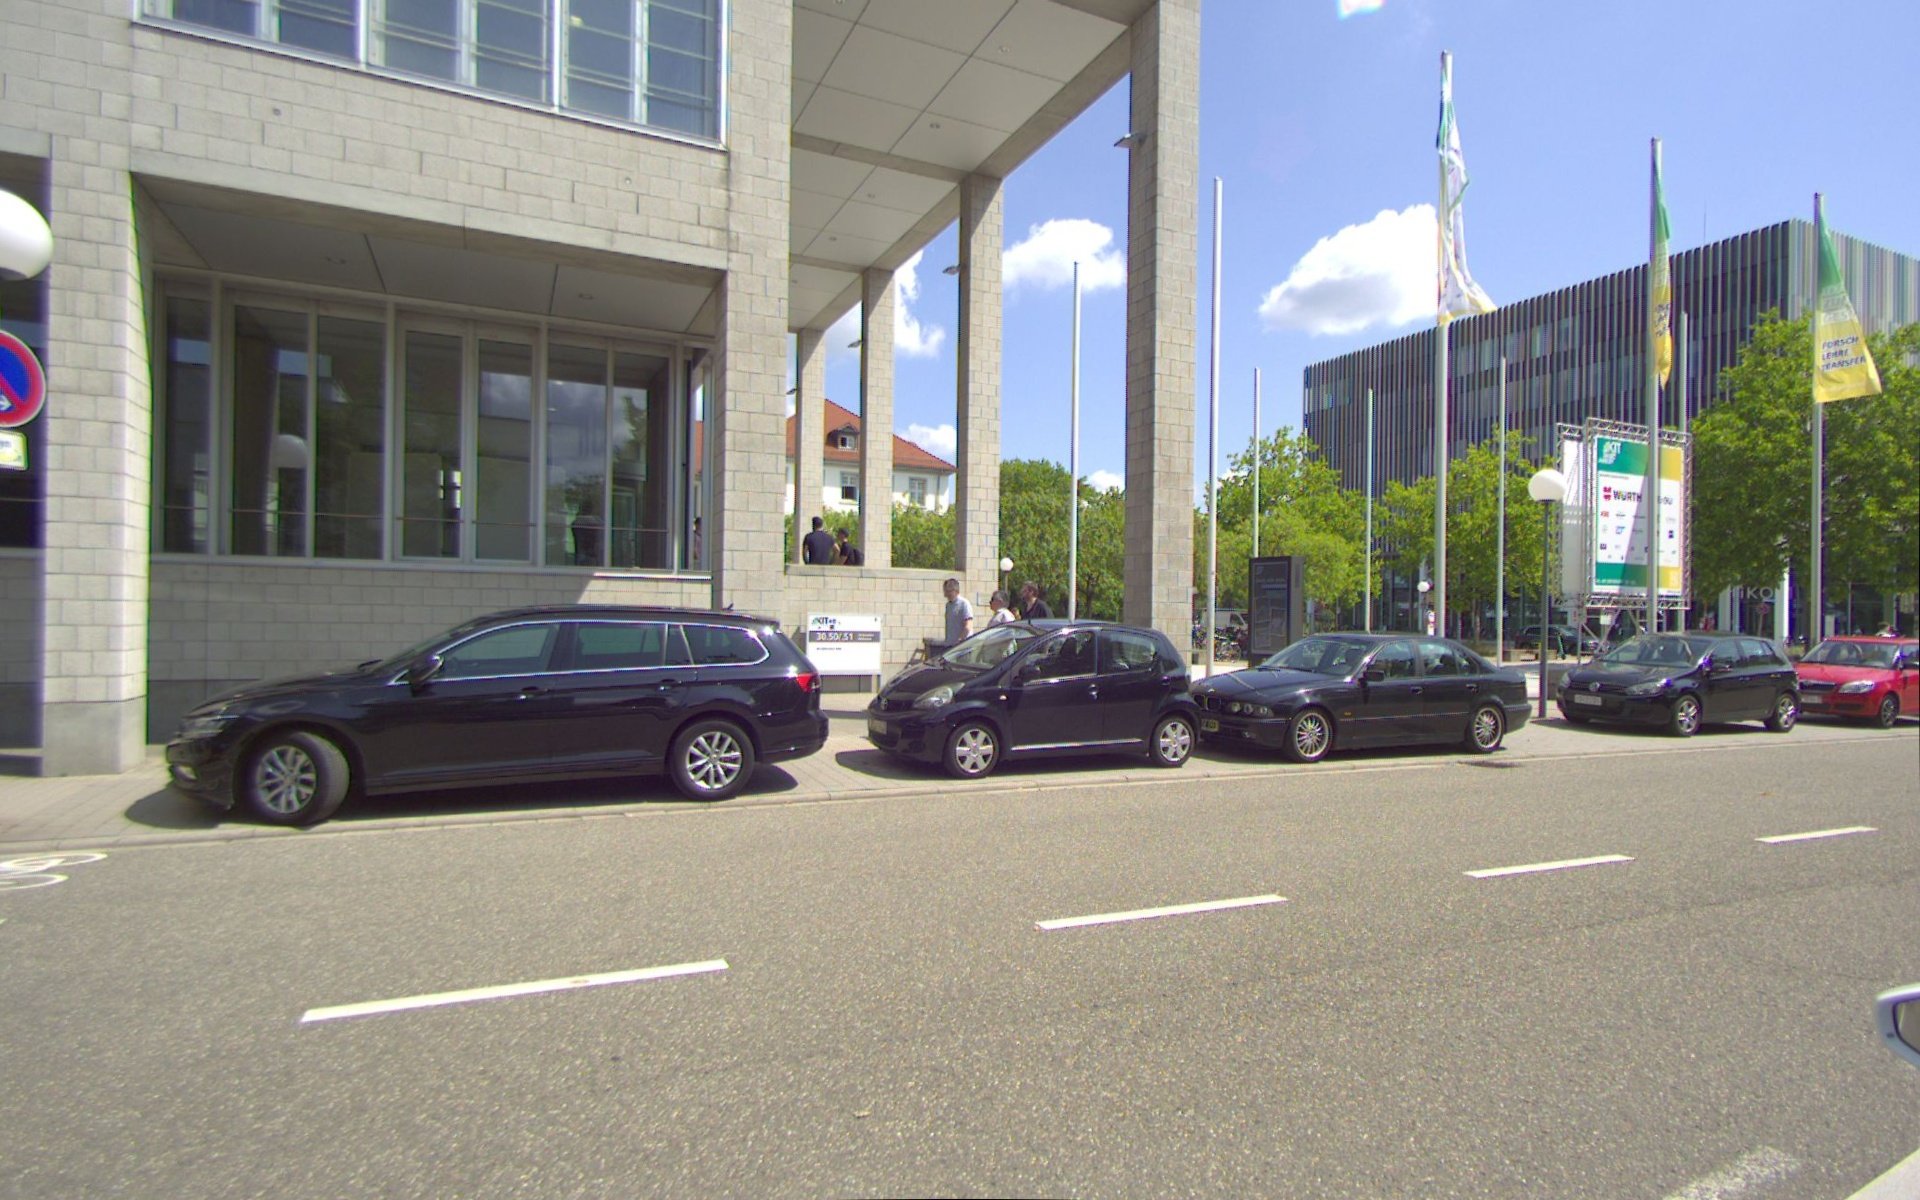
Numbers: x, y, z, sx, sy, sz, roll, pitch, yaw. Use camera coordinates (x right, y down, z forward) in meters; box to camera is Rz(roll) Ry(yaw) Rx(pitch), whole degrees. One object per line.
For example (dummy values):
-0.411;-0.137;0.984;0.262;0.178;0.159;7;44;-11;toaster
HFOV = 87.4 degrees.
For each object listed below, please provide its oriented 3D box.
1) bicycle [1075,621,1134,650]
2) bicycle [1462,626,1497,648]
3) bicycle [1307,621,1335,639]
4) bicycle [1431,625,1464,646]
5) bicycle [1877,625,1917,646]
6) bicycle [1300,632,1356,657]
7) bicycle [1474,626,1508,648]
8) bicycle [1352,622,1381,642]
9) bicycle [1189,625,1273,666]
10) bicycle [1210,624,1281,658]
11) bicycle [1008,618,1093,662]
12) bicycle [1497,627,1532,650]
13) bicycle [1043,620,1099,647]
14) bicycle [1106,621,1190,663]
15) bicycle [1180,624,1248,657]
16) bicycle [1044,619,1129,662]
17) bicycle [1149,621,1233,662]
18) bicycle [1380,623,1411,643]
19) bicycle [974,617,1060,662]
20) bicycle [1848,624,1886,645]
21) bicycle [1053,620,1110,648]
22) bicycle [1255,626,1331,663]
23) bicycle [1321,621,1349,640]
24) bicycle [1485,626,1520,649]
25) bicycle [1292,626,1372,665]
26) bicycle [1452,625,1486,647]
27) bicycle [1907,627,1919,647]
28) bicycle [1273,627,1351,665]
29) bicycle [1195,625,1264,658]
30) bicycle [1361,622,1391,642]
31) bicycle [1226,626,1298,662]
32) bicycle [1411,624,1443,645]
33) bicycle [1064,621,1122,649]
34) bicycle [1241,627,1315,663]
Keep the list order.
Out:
7.558;1.869;52.530;2.907;1.430;1.060;2;0;-21;bicycle
45.224;3.189;87.434;2.908;1.863;0.957;2;0;-22;bicycle
37.739;3.130;104.946;2.911;1.863;0.956;2;0;-25;bicycle
43.988;3.184;90.576;2.909;1.863;0.957;2;0;-23;bicycle
59.140;2.221;63.435;1.179;1.254;2.946;1;0;29;bicycle
17.658;2.140;48.160;2.919;1.163;0.992;2;0;-33;bicycle
45.655;3.190;86.343;2.908;1.863;0.957;2;0;-22;bicycle
40.251;3.165;99.461;2.911;1.863;0.956;2;0;-25;bicycle
10.325;1.705;38.376;2.909;1.430;1.059;1;0;43;bicycle
12.461;1.788;43.885;2.907;1.430;1.060;2;0;-21;bicycle
3.177;1.387;35.692;2.909;1.430;1.141;1;0;43;bicycle
46.481;3.194;84.258;2.909;1.863;0.957;2;0;-23;bicycle
6.207;1.865;56.088;2.907;1.430;1.060;2;0;-21;bicycle
6.999;1.528;37.531;2.909;1.430;1.141;1;0;43;bicycle
11.655;1.848;46.095;2.907;1.430;1.060;2;0;-21;bicycle
4.521;1.425;36.194;2.909;1.430;1.141;1;0;43;bicycle
8.737;1.548;38.095;2.909;1.430;1.141;1;0;43;bicycle
41.686;3.173;96.183;2.911;1.863;0.983;2;0;-25;bicycle
1.959;1.339;34.925;2.909;1.430;1.141;1;0;43;bicycle
57.740;2.164;63.997;1.179;1.254;2.946;1;0;30;bicycle
6.637;1.865;54.827;2.907;1.430;1.060;2;0;-21;bicycle
13.542;1.816;40.817;2.907;1.430;1.013;2;0;-21;bicycle
38.540;3.153;103.175;2.911;1.863;0.956;2;0;-25;bicycle
46.073;3.192;85.311;2.908;1.863;0.957;2;0;-22;bicycle
14.330;1.757;38.701;2.907;1.438;1.013;2;0;-21;bicycle
44.828;3.188;88.508;2.908;1.863;0.957;2;0;-22;bicycle
60.347;2.332;62.664;1.179;1.254;2.946;1;0;29;bicycle
13.934;1.807;39.773;2.907;1.435;1.013;2;0;-21;bicycle
12.075;1.863;44.955;2.907;1.430;1.060;2;0;-21;bicycle
40.713;3.167;98.371;2.911;1.863;0.956;2;0;-25;bicycle
12.873;1.874;42.804;2.907;1.430;1.060;2;0;-21;bicycle
43.083;3.179;92.699;2.910;1.863;0.957;2;0;-25;bicycle
7.097;1.867;53.637;2.907;1.430;1.060;2;0;-21;bicycle
13.239;1.859;41.777;2.907;1.430;1.013;2;0;-21;bicycle
